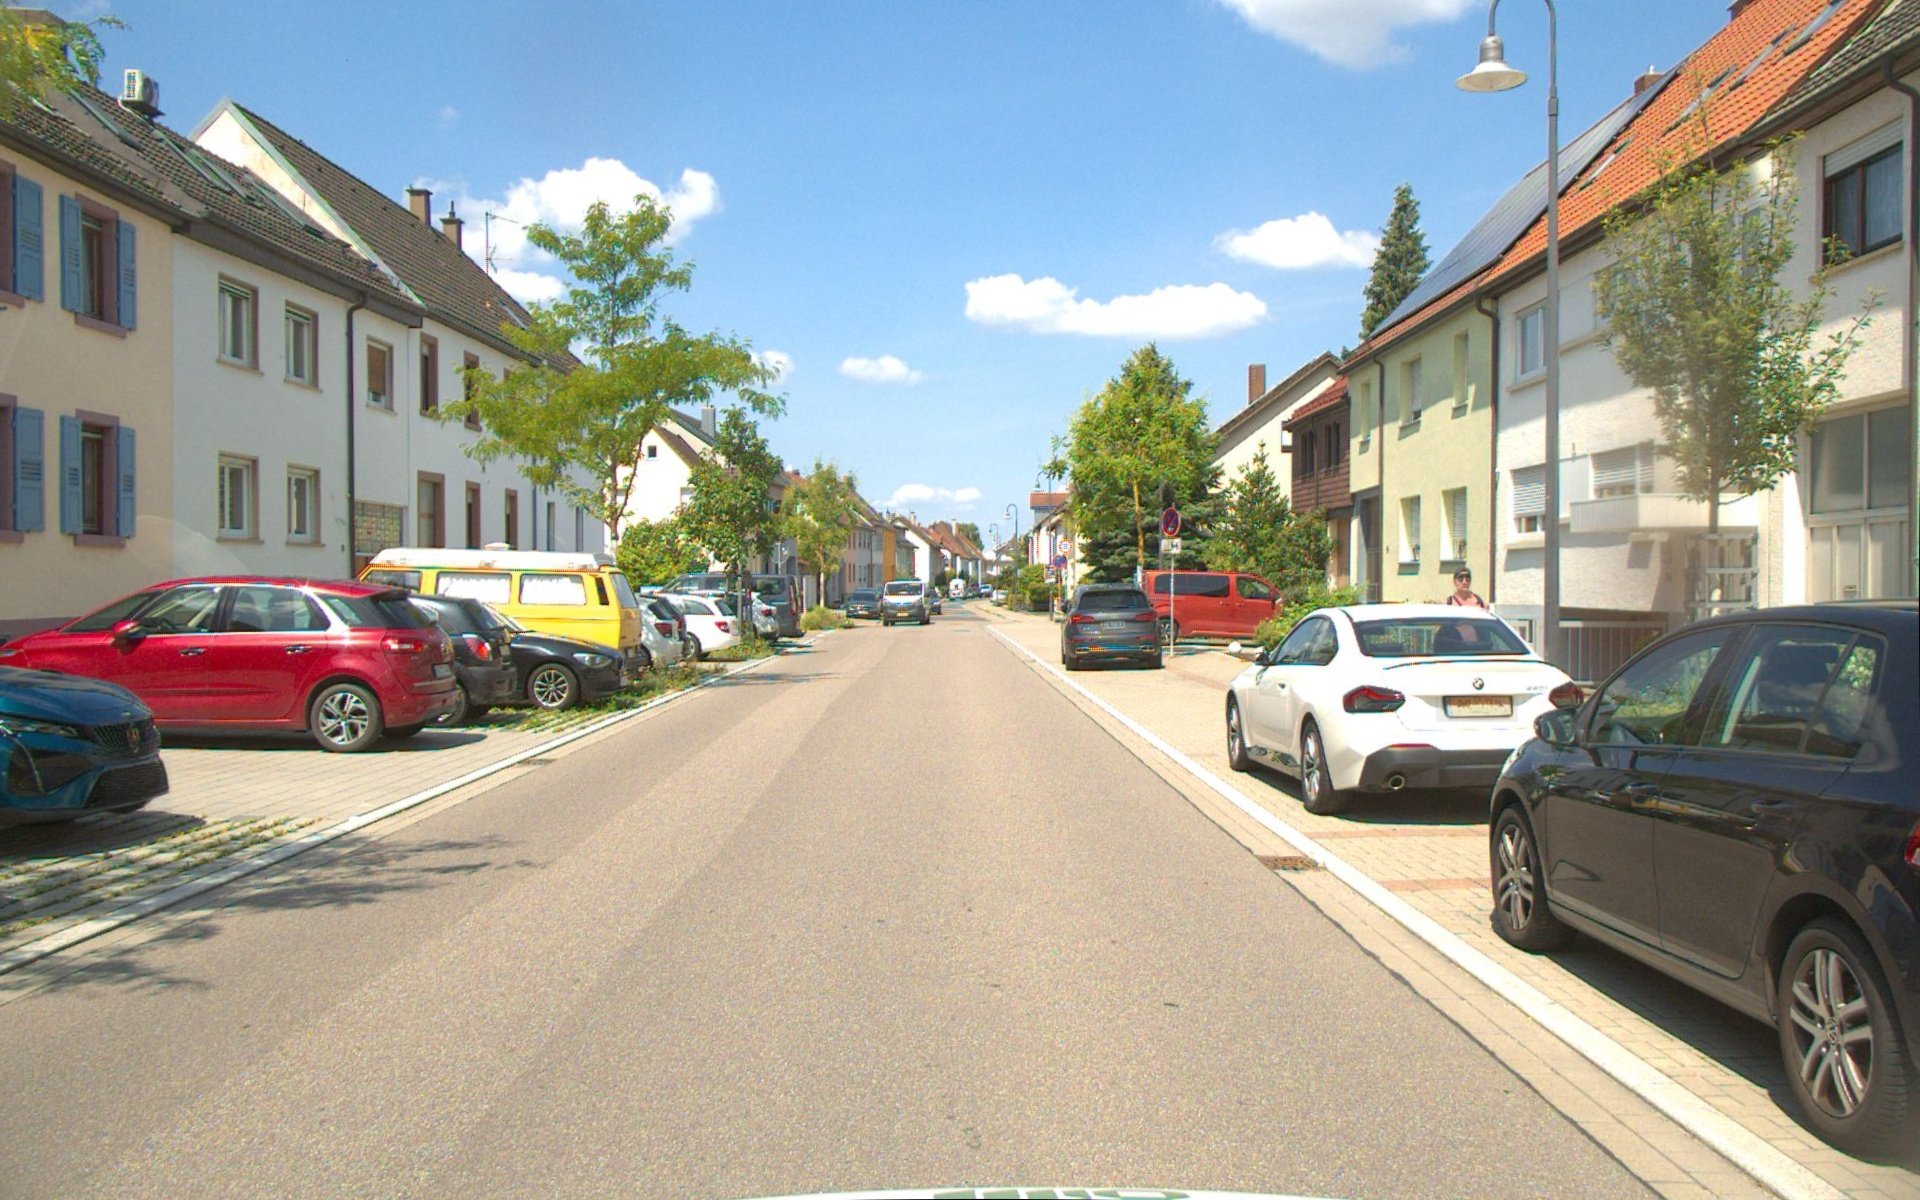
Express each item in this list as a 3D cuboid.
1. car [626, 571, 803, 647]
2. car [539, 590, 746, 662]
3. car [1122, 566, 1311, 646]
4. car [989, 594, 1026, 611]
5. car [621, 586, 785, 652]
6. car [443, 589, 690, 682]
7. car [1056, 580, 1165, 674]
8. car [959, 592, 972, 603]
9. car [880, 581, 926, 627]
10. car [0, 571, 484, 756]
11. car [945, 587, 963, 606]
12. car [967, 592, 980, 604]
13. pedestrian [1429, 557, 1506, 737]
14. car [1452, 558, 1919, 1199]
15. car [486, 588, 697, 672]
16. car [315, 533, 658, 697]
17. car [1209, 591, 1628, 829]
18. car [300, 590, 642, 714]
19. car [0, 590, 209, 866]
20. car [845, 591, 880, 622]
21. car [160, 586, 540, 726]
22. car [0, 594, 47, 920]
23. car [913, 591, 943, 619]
[{"bbox_3d":[-6.798,0.243,46.219,4.604,1.957,1.937,2,-1,-1],"label":"car"},{"bbox_3d":[-6.988,0.577,36.711,4.206,1.493,1.774,1,-1,1],"label":"car"},{"bbox_3d":[6.583,0.166,42.745,4.526,1.927,2.020,1,-1,-2],"label":"car"},{"bbox_3d":[4.449,0.234,156.295,3.451,1.490,1.628,2,-1,0],"label":"car"},{"bbox_3d":[-6.716,0.489,43.595,4.101,1.596,1.772,2,-1,-4],"label":"car"},{"bbox_3d":[-6.745,0.601,28.700,3.996,1.493,1.750,1,0,-9],"label":"car"},{"bbox_3d":[2.932,0.471,32.978,1.825,1.664,4.447,-2,1,2],"label":"car"},{"bbox_3d":[0.755,-0.340,232.321,1.656,1.530,3.772,2,-1,3],"label":"car"},{"bbox_3d":[-2.530,0.186,74.069,1.982,1.984,4.897,0,0,-2],"label":"car"},{"bbox_3d":[-7.042,0.588,16.254,4.167,1.639,1.842,1,0,-2],"label":"car"},{"bbox_3d":[-0.695,-0.437,210.382,2.002,2.352,3.772,1,-1,3],"label":"car"},{"bbox_3d":[1.989,-0.247,239.807,1.656,1.689,3.772,2,-1,3],"label":"car"},{"bbox_3d":[5.128,0.463,16.736,0.546,1.779,0.673,0,-1,0],"label":"pedestrian"},{"bbox_3d":[3.156,0.679,5.673,1.731,1.556,4.007,0,0,0],"label":"car"},{"bbox_3d":[-6.989,0.574,31.672,3.807,1.493,1.655,1,-1,-9],"label":"car"},{"bbox_3d":[-6.830,0.211,24.227,4.416,2.215,1.925,1,0,-1],"label":"car"},{"bbox_3d":[3.235,0.690,12.679,1.795,1.491,4.517,0,0,-2],"label":"car"},{"bbox_3d":[-6.318,0.658,21.694,3.928,1.485,1.755,1,0,-1],"label":"car"},{"bbox_3d":[-7.052,0.674,9.830,4.317,1.503,1.774,1,0,-5],"label":"car"},{"bbox_3d":[-5.358,0.351,91.429,1.780,1.458,4.137,4,1,-3],"label":"car"},{"bbox_3d":[-6.916,0.620,19.074,3.716,1.485,1.754,1,0,-3],"label":"car"},{"bbox_3d":[-6.386,0.691,7.021,3.973,1.503,1.774,1,0,-3],"label":"car"},{"bbox_3d":[-1.916,0.295,98.293,1.727,1.549,4.048,-2,0,-2],"label":"car"}]
